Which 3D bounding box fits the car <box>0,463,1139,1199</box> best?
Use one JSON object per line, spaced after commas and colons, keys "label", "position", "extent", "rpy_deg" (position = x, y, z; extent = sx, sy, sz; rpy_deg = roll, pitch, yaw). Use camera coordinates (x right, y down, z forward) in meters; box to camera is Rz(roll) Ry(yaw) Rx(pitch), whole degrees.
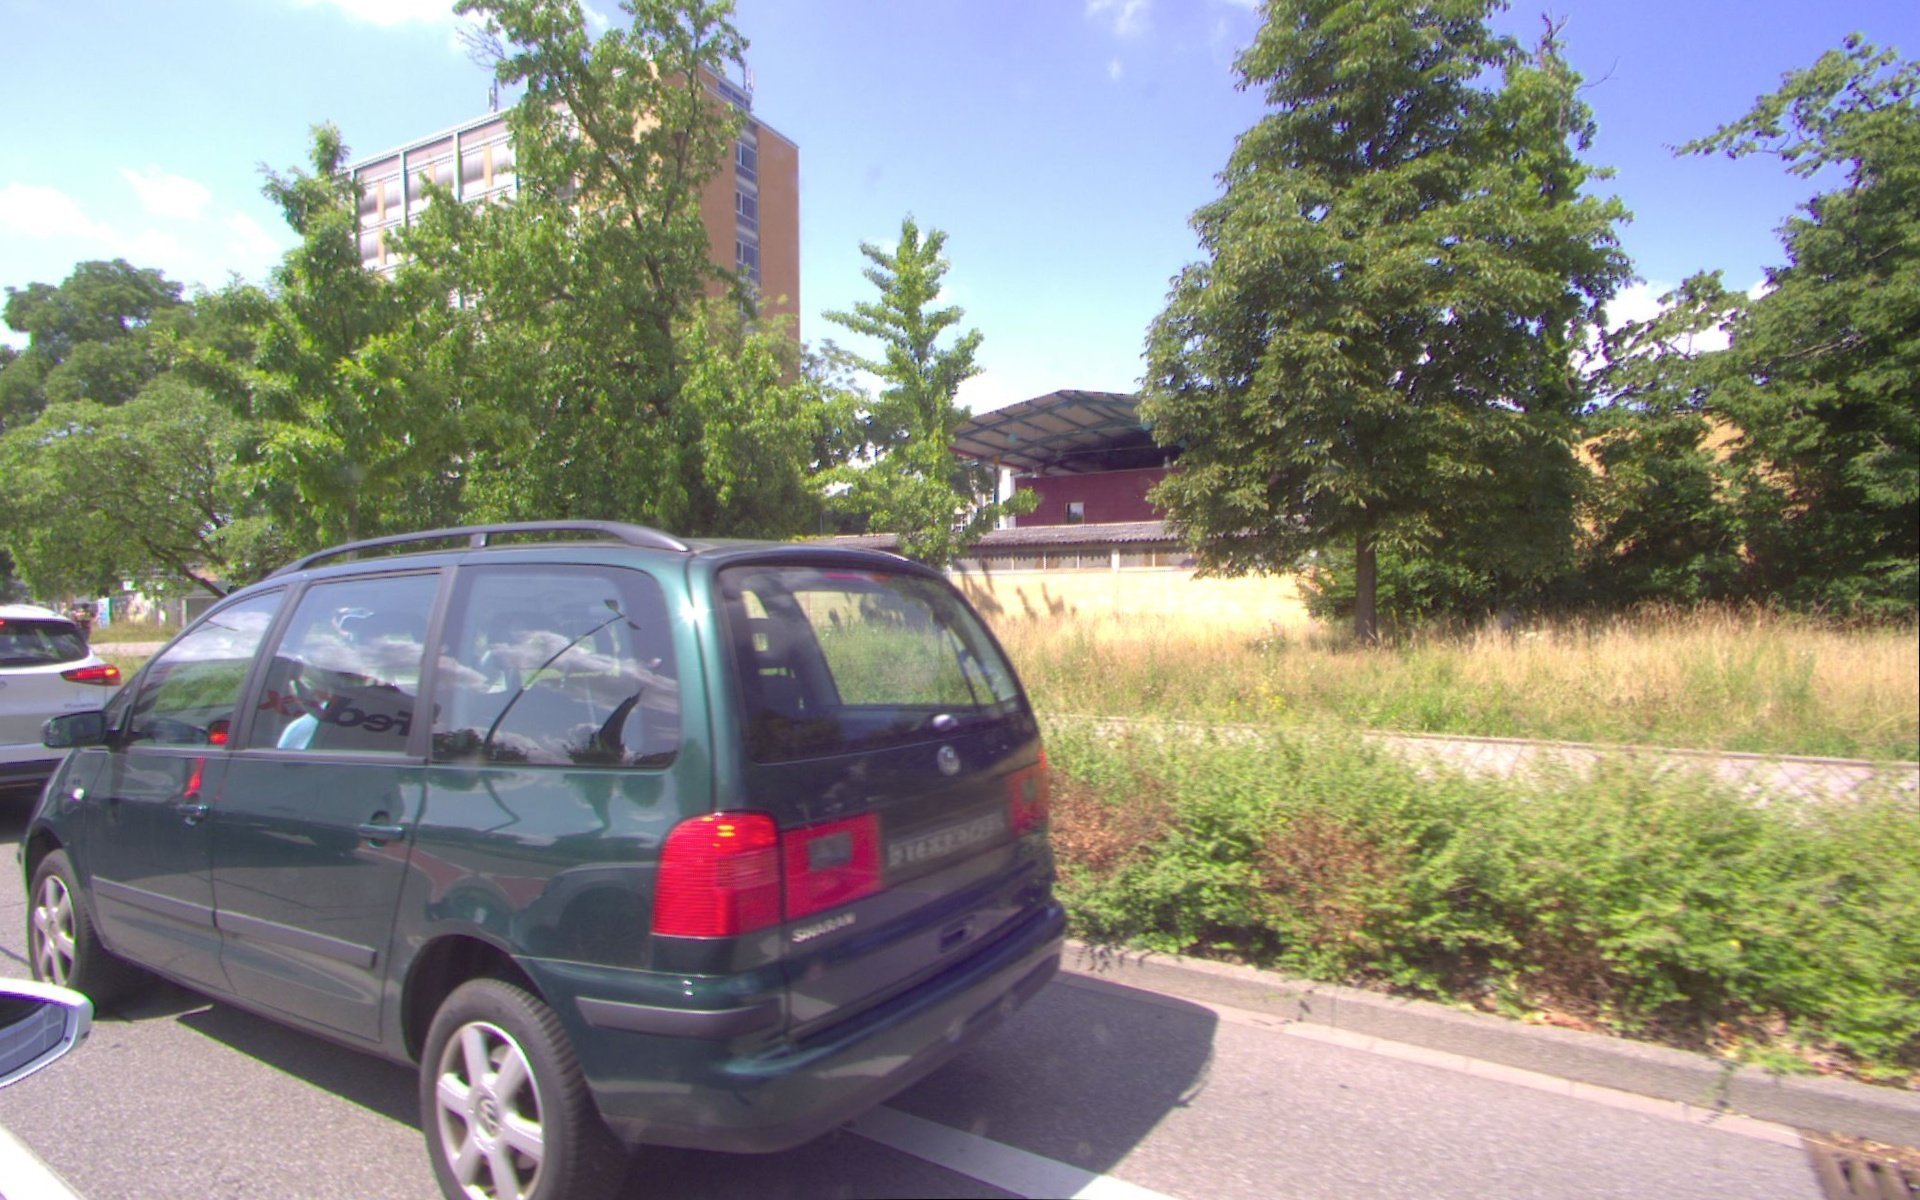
{"label": "car", "position": [-1.709, 0.662, 3.708], "extent": [4.325, 1.757, 1.809], "rpy_deg": [0, -1, 32]}

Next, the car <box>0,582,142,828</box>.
{"label": "car", "position": [-8.352, 0.736, 7.996], "extent": [3.945, 1.710, 1.793], "rpy_deg": [0, 0, 34]}

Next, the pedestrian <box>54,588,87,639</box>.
{"label": "pedestrian", "position": [-37.279, 0.565, 41.986], "extent": [0.728, 2.085, 0.845], "rpy_deg": [0, 0, -18]}

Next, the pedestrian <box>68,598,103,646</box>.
{"label": "pedestrian", "position": [-37.602, 0.936, 43.072], "extent": [0.727, 2.040, 0.847], "rpy_deg": [0, 0, 12]}

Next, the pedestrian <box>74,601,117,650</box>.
{"label": "pedestrian", "position": [-28.101, 0.823, 32.557], "extent": [0.823, 1.559, 0.843], "rpy_deg": [0, 0, 32]}

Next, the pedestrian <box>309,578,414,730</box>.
{"label": "pedestrian", "position": [-7.890, 0.681, 13.220], "extent": [0.762, 1.917, 0.948], "rpy_deg": [0, 0, 32]}
